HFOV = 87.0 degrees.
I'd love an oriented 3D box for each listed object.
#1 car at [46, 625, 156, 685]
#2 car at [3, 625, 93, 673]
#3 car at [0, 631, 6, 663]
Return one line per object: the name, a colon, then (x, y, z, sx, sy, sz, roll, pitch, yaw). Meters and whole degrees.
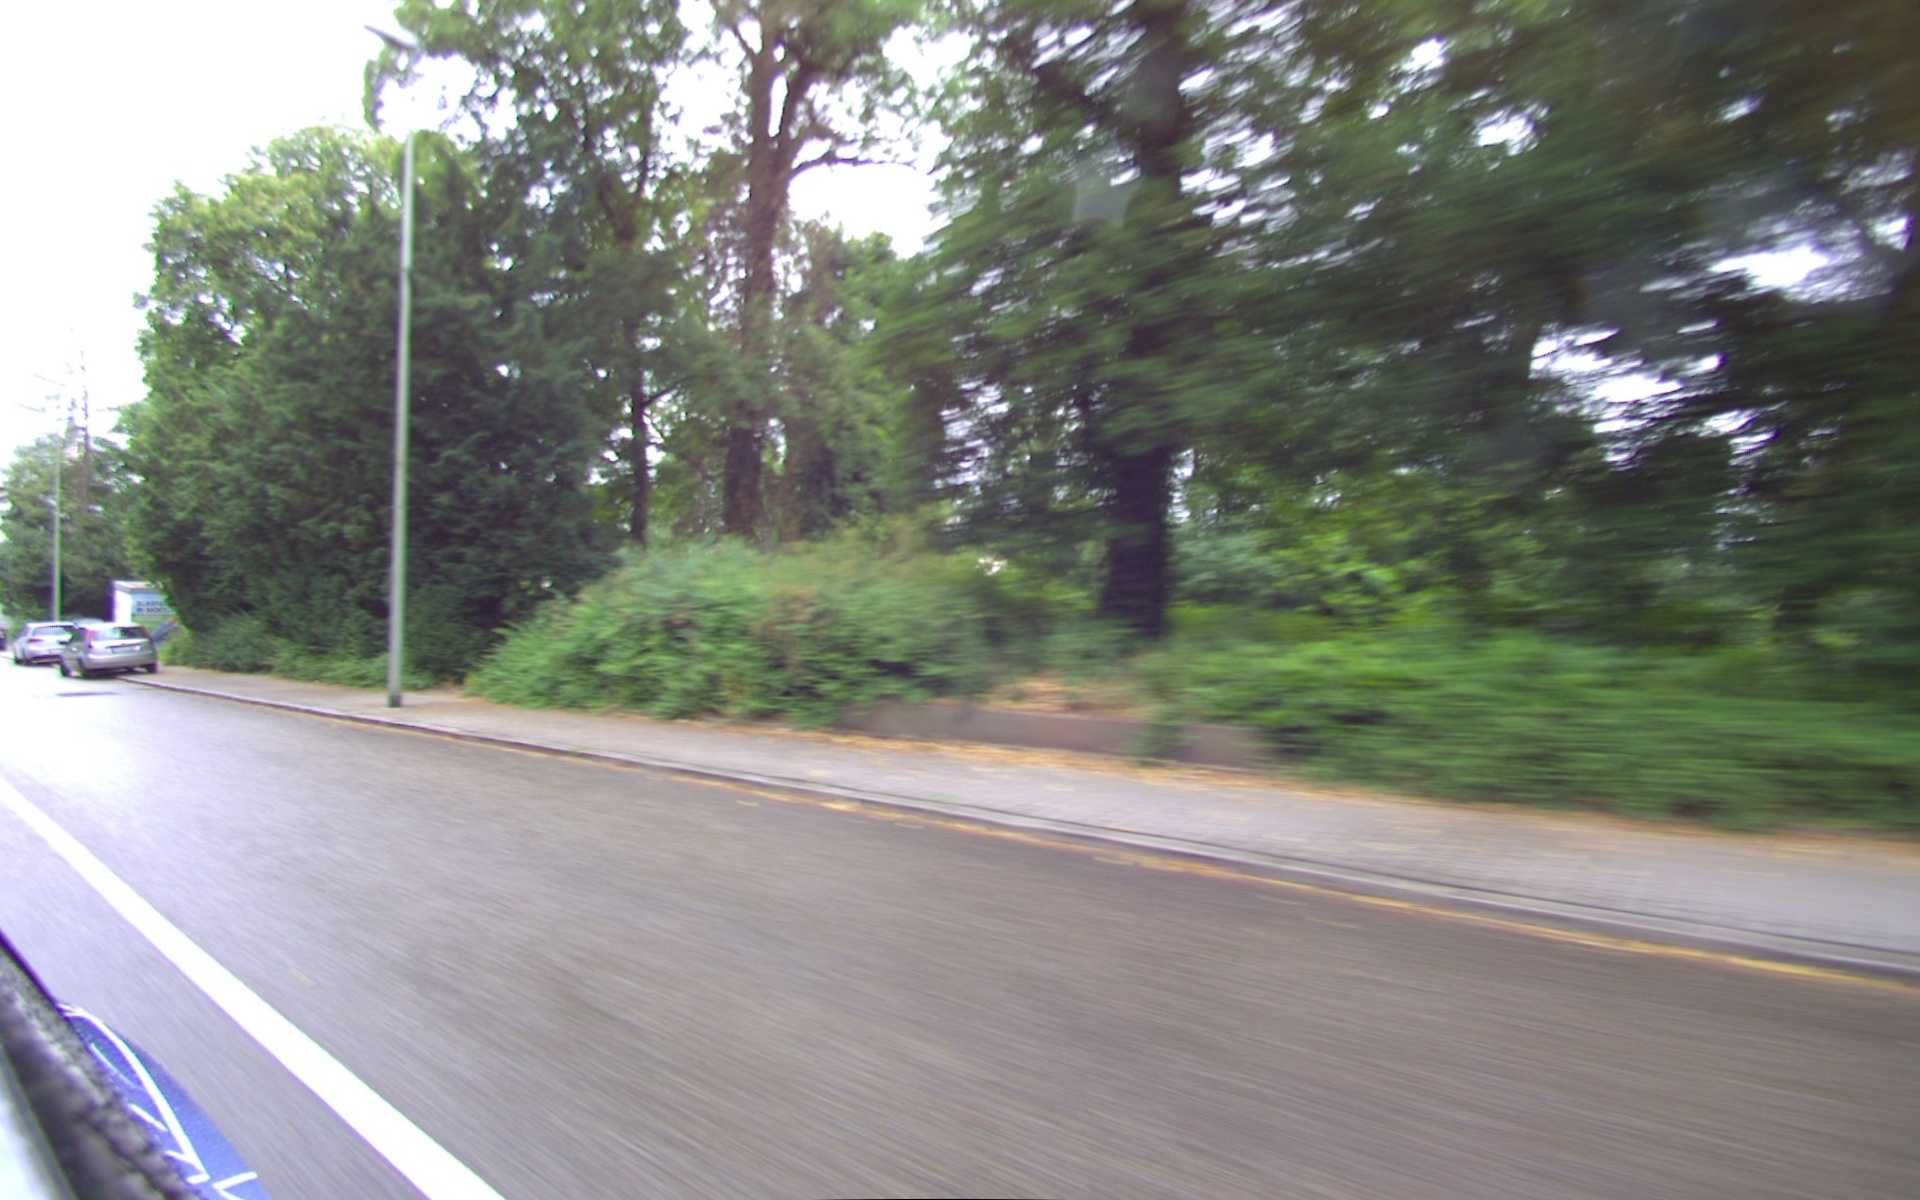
car: (-24.008, 1.490, 28.255, 3.923, 1.510, 1.610, -2, 0, 39)
car: (-32.620, 1.747, 36.178, 4.237, 1.624, 1.866, -2, -4, 42)
car: (-48.326, 2.242, 49.505, 4.752, 1.505, 1.840, -2, -5, 41)
